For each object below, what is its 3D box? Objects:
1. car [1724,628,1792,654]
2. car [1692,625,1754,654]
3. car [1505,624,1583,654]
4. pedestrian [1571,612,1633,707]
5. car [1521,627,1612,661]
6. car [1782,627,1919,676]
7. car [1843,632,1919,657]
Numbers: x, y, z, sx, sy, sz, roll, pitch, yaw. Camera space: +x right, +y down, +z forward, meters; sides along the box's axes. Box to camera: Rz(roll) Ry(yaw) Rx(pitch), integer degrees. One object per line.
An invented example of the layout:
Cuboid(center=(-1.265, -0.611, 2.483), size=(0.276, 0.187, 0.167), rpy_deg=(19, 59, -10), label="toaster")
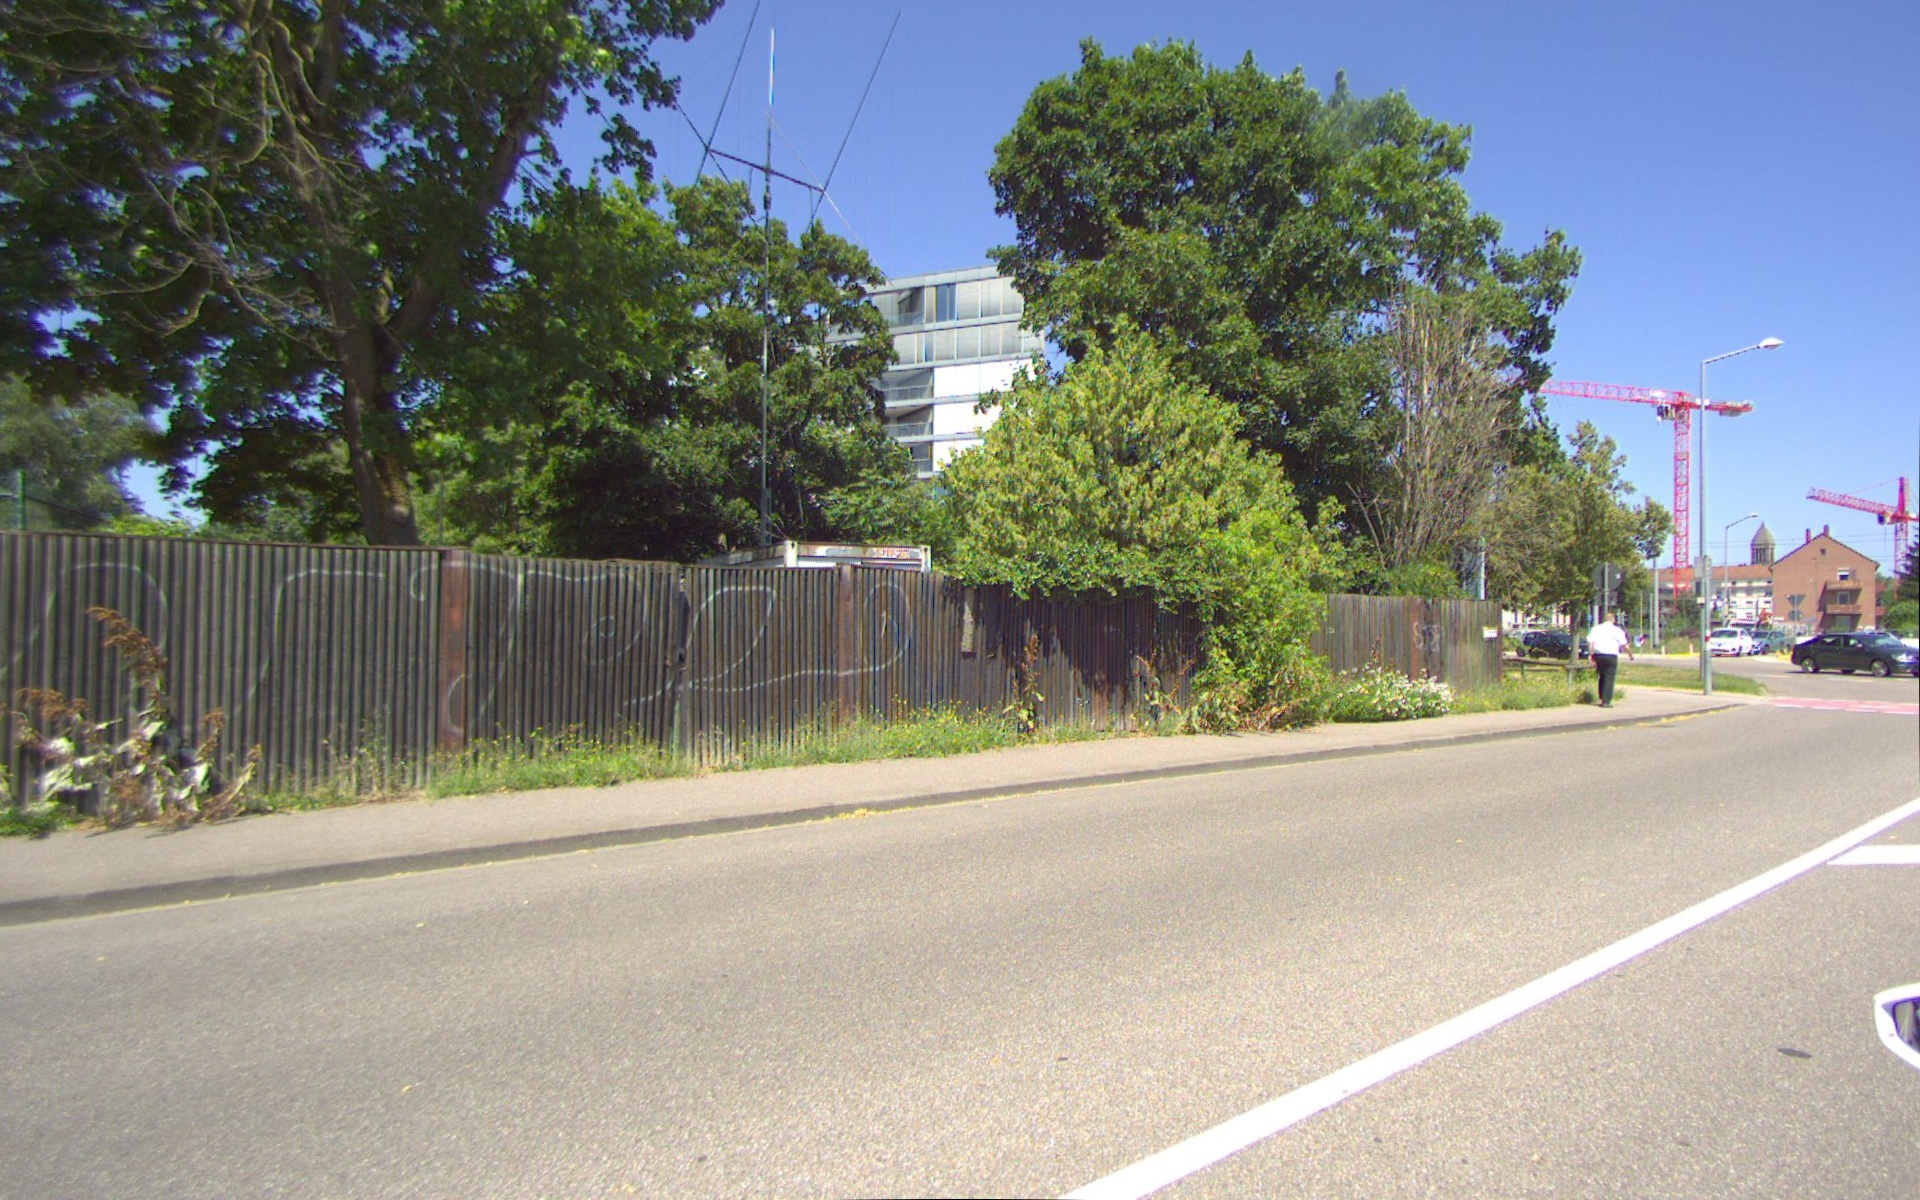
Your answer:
Cuboid(center=(46.851, 2.414, 58.962), size=(4.282, 1.390, 1.737), rpy_deg=(2, 0, -31), label="car")
Cuboid(center=(42.238, 2.155, 55.565), size=(3.837, 1.547, 1.763), rpy_deg=(1, -2, -37), label="car")
Cuboid(center=(34.481, 2.284, 59.402), size=(1.699, 1.572, 3.988), rpy_deg=(2, 0, -14), label="car")
Cuboid(center=(12.669, 1.162, 19.810), size=(0.958, 1.810, 0.632), rpy_deg=(2, 0, -31), label="pedestrian")
Cuboid(center=(31.801, 2.274, 52.801), size=(1.699, 1.572, 3.987), rpy_deg=(2, 0, -15), label="car")
Cuboid(center=(31.538, 1.753, 35.175), size=(1.695, 1.572, 4.340), rpy_deg=(0, -1, -6), label="car")
Cuboid(center=(57.530, 2.753, 62.247), size=(4.188, 1.421, 1.732), rpy_deg=(2, 0, -3), label="car")
